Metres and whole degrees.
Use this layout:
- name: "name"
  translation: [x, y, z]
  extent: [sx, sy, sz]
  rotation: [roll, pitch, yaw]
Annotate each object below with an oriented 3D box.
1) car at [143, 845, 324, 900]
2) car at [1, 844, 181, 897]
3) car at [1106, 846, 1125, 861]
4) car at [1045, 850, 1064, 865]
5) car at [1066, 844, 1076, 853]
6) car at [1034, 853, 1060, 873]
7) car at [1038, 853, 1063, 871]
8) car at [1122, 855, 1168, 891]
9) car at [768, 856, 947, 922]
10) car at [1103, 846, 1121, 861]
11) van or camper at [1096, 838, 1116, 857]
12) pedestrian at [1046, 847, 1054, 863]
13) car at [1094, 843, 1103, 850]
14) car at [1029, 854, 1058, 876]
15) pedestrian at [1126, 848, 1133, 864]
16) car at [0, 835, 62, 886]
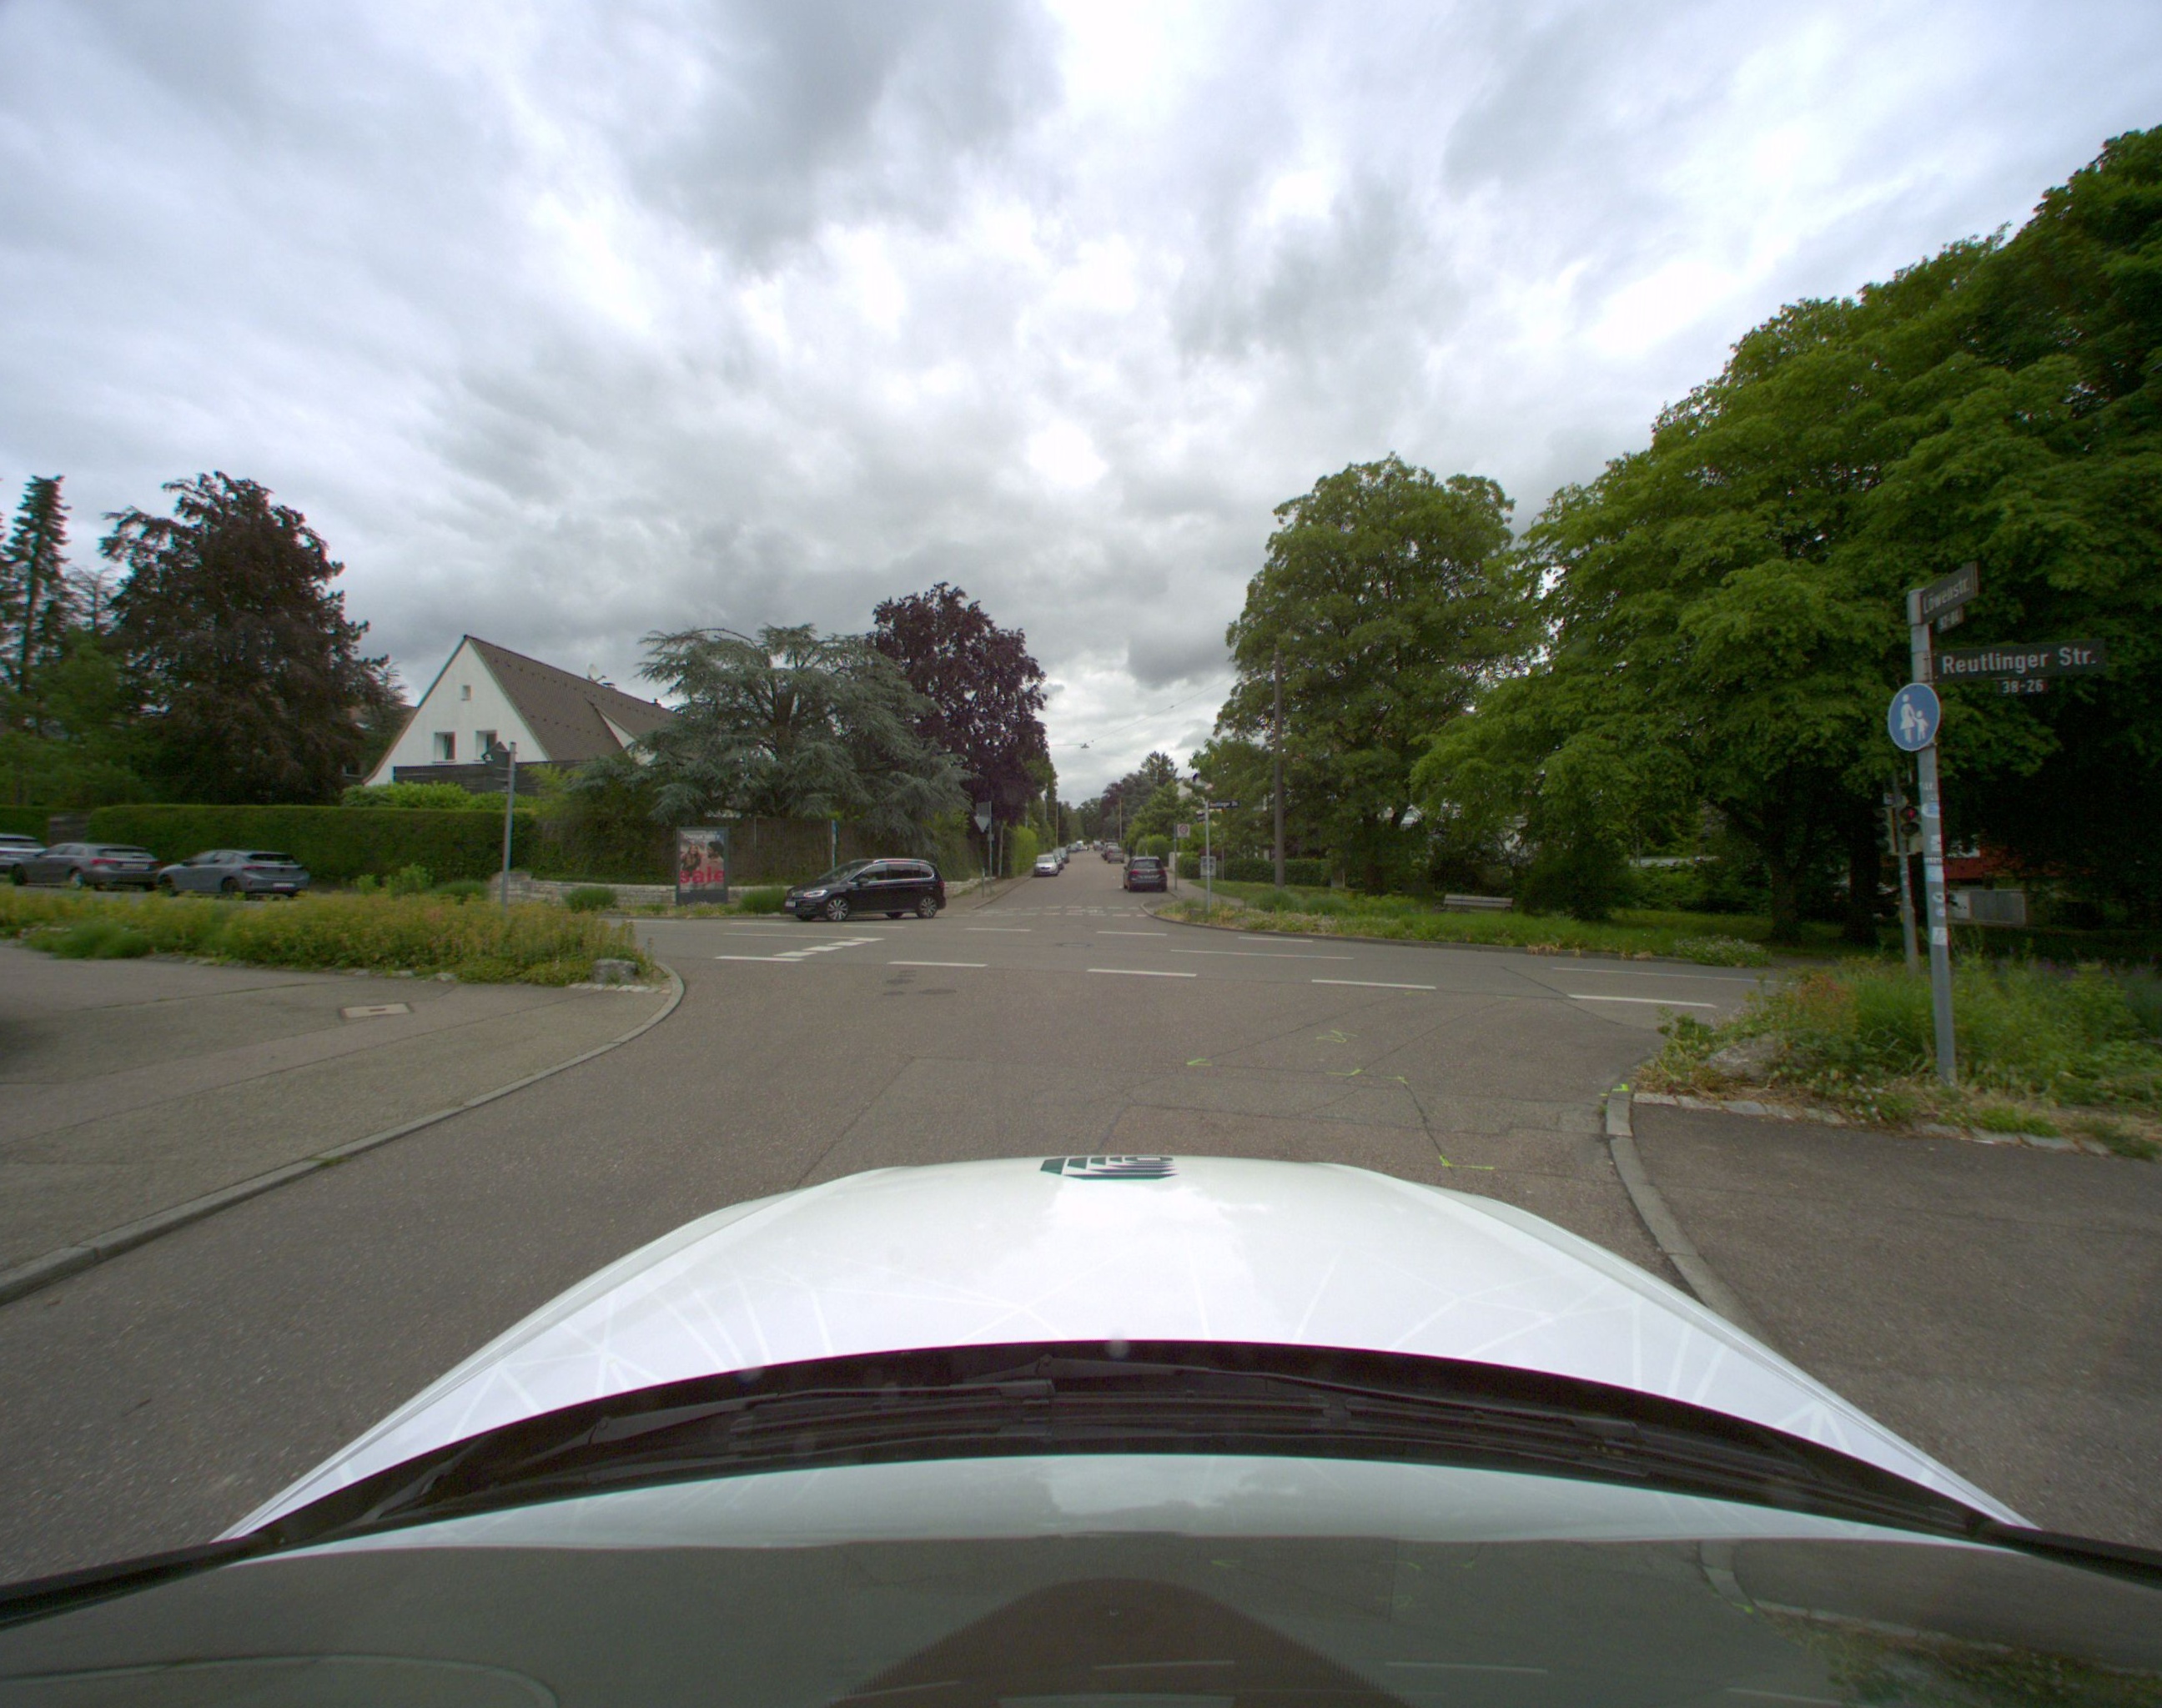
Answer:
- name: "car"
  translation: [-25.038, 0.556, 24.106]
  extent: [3.959, 1.464, 1.867]
  rotation: [2, -3, 13]
- name: "car"
  translation: [-30.922, 0.518, 25.479]
  extent: [4.129, 1.464, 1.867]
  rotation: [2, -3, 13]
- name: "car"
  translation: [3.445, -0.017, 81.003]
  extent: [1.605, 1.413, 3.470]
  rotation: [1, 0, -2]
- name: "car"
  translation: [-2.742, 0.366, 85.632]
  extent: [1.941, 1.442, 3.998]
  rotation: [-1, 0, -1]
- name: "car"
  translation: [-1.729, -0.956, 146.008]
  extent: [1.709, 1.463, 3.656]
  rotation: [1, 0, 1]
- name: "car"
  translation: [-2.565, 0.662, 62.575]
  extent: [1.941, 1.442, 3.998]
  rotation: [-1, 0, -1]
- name: "car"
  translation: [-2.499, 0.682, 67.768]
  extent: [1.941, 1.442, 3.998]
  rotation: [-1, 0, -1]
- name: "car"
  translation: [2.917, 0.849, 37.688]
  extent: [1.811, 1.536, 3.999]
  rotation: [-1, 0, 0]
- name: "car"
  translation: [-5.909, 0.903, 21.923]
  extent: [1.830, 1.612, 4.337]
  rotation: [-2, -2, 42]
- name: "car"
  translation: [3.399, -0.045, 90.072]
  extent: [1.742, 1.640, 3.726]
  rotation: [-1, 0, -1]
- name: "van or camper"
  translation: [3.133, -0.779, 102.828]
  extent: [2.107, 2.405, 5.242]
  rotation: [-1, 0, -2]
- name: "pedestrian"
  translation: [-3.848, 0.124, 100.691]
  extent: [0.851, 2.013, 0.871]
  rotation: [2, 0, -5]
- name: "car"
  translation: [3.814, -1.602, 179.916]
  extent: [1.809, 1.574, 3.999]
  rotation: [-1, 0, 0]
- name: "car"
  translation: [-2.636, 0.750, 57.424]
  extent: [1.941, 1.442, 3.998]
  rotation: [-1, 0, -1]
- name: "pedestrian"
  translation: [5.567, 0.215, 92.844]
  extent: [0.754, 1.871, 0.620]
  rotation: [1, 0, 0]
- name: "car"
  translation: [-36.408, 0.162, 26.811]
  extent: [4.129, 1.582, 1.867]
  rotation: [2, -3, 13]
